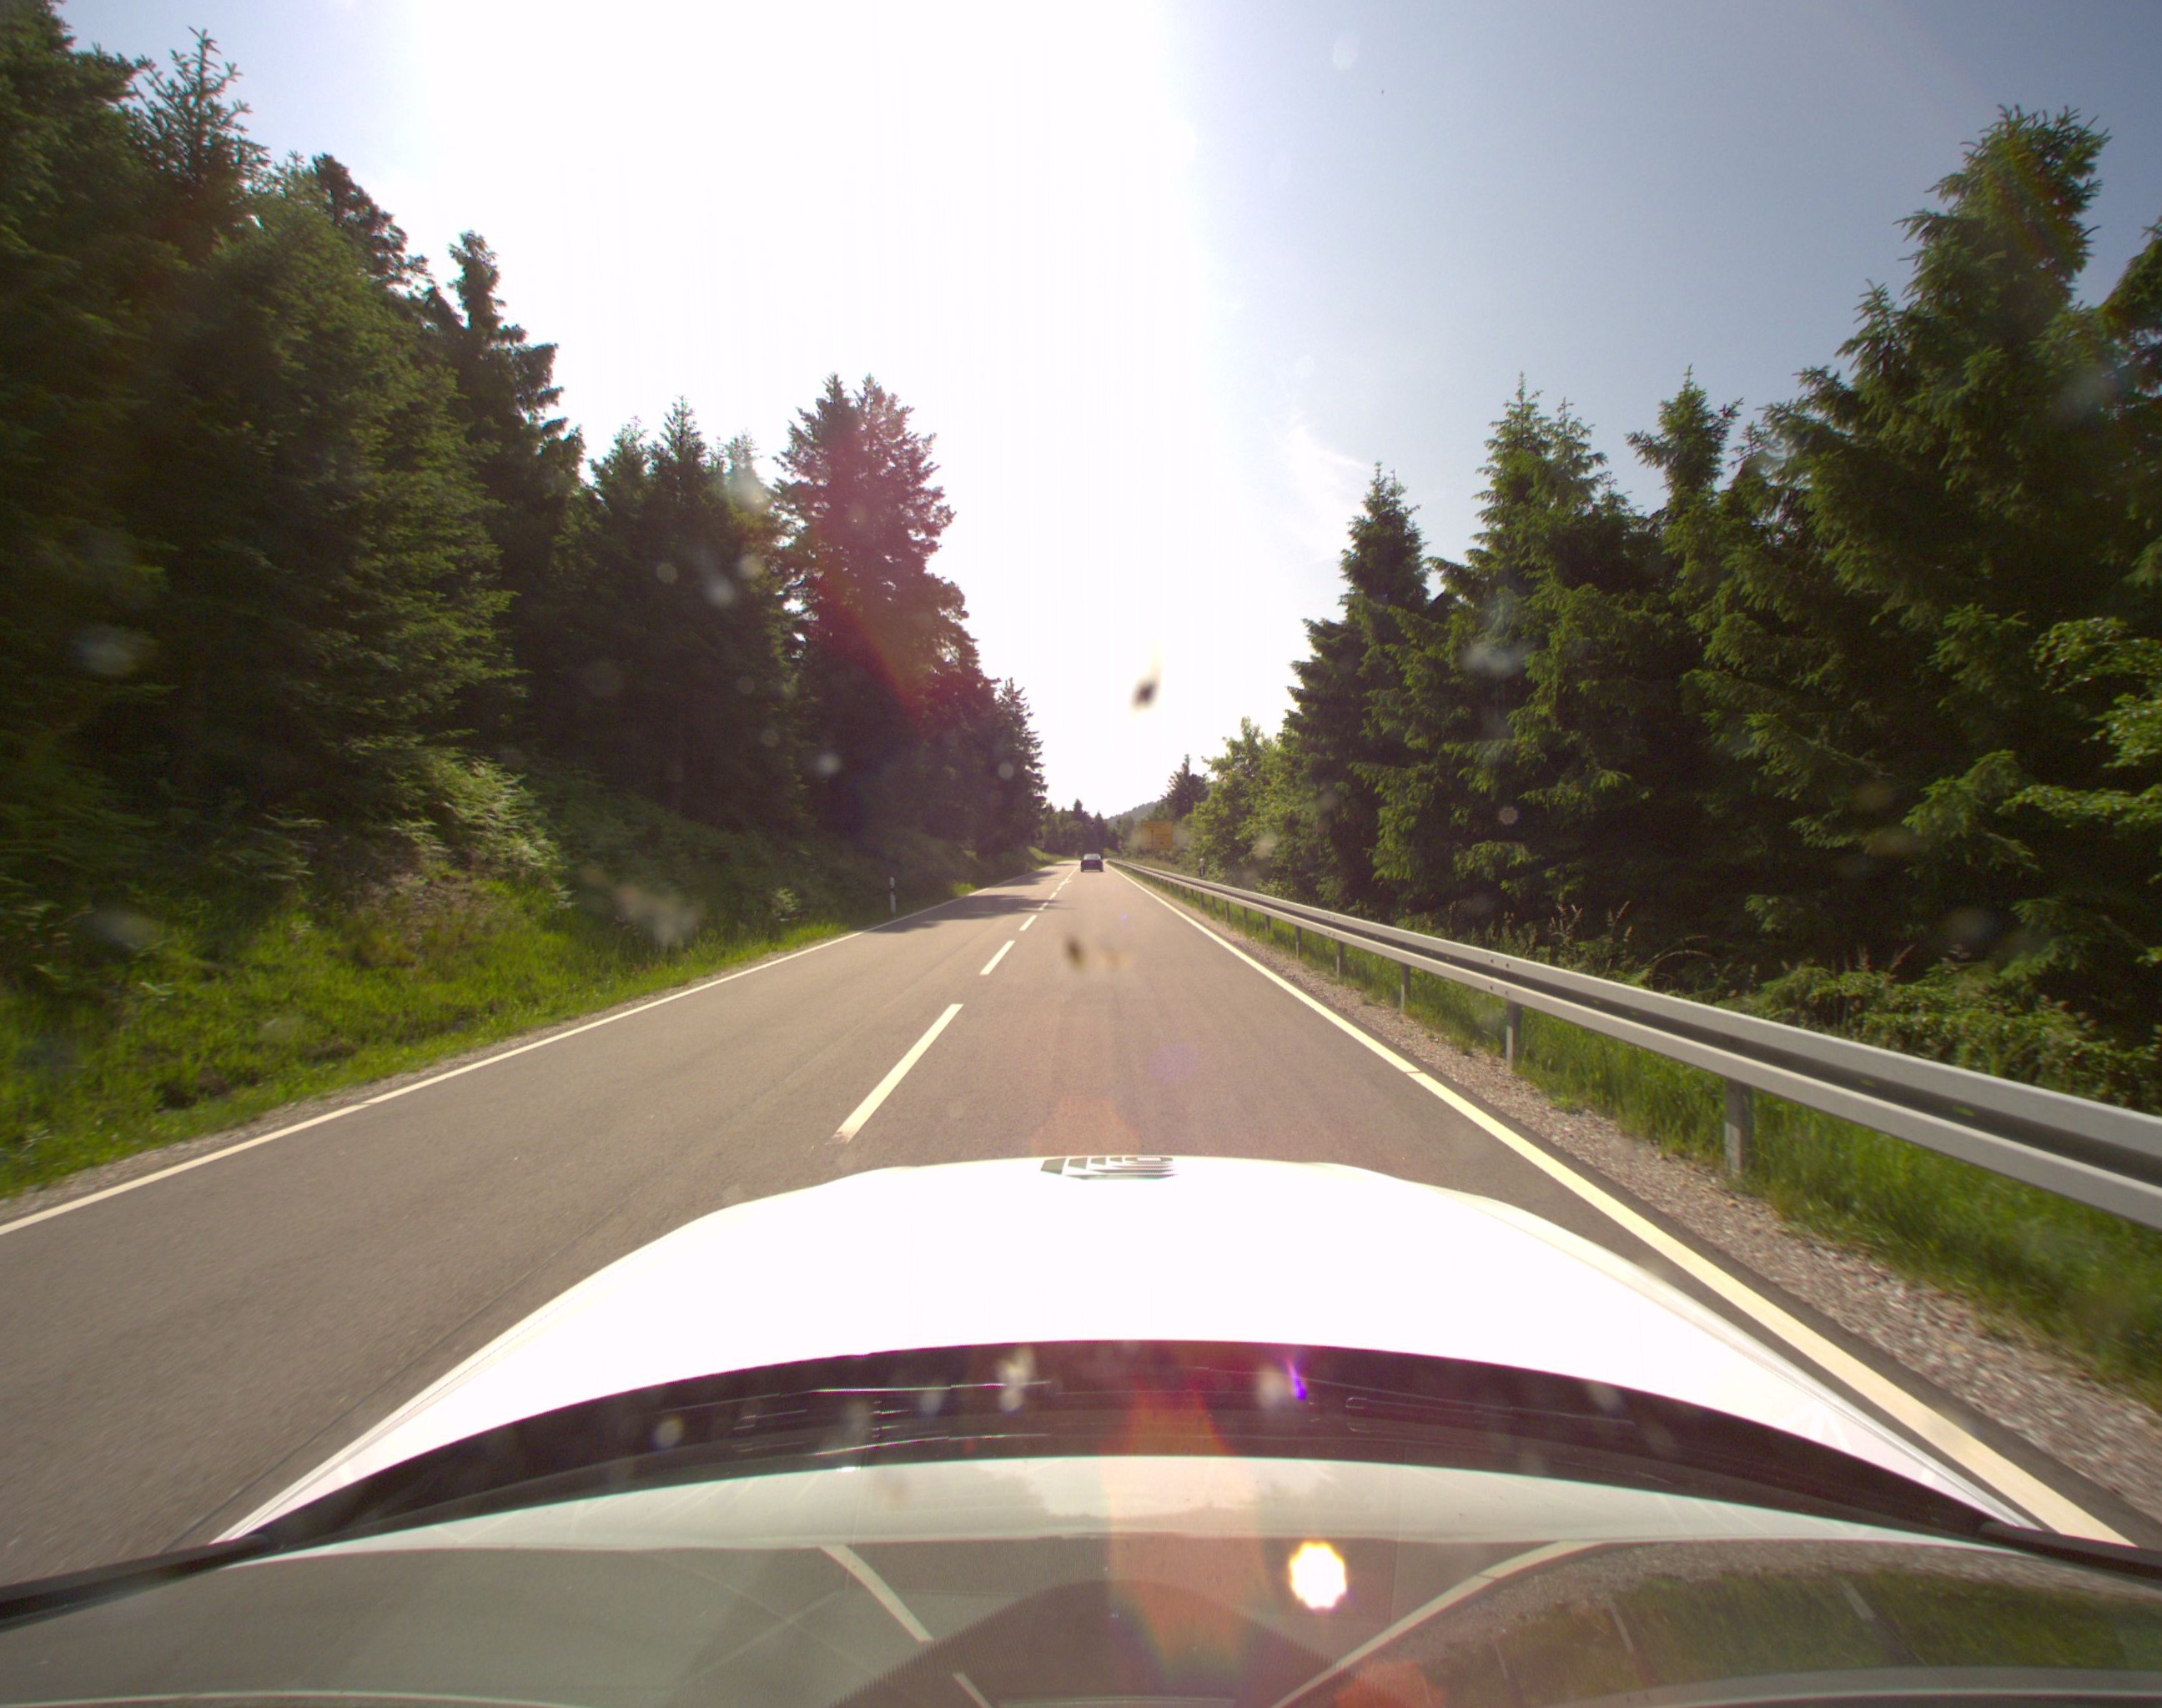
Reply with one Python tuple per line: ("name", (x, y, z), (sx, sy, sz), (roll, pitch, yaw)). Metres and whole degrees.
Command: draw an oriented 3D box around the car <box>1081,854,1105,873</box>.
("car", (0.973, 0.770, 65.981), (1.770, 1.442, 3.709), (-2, 0, 1))
